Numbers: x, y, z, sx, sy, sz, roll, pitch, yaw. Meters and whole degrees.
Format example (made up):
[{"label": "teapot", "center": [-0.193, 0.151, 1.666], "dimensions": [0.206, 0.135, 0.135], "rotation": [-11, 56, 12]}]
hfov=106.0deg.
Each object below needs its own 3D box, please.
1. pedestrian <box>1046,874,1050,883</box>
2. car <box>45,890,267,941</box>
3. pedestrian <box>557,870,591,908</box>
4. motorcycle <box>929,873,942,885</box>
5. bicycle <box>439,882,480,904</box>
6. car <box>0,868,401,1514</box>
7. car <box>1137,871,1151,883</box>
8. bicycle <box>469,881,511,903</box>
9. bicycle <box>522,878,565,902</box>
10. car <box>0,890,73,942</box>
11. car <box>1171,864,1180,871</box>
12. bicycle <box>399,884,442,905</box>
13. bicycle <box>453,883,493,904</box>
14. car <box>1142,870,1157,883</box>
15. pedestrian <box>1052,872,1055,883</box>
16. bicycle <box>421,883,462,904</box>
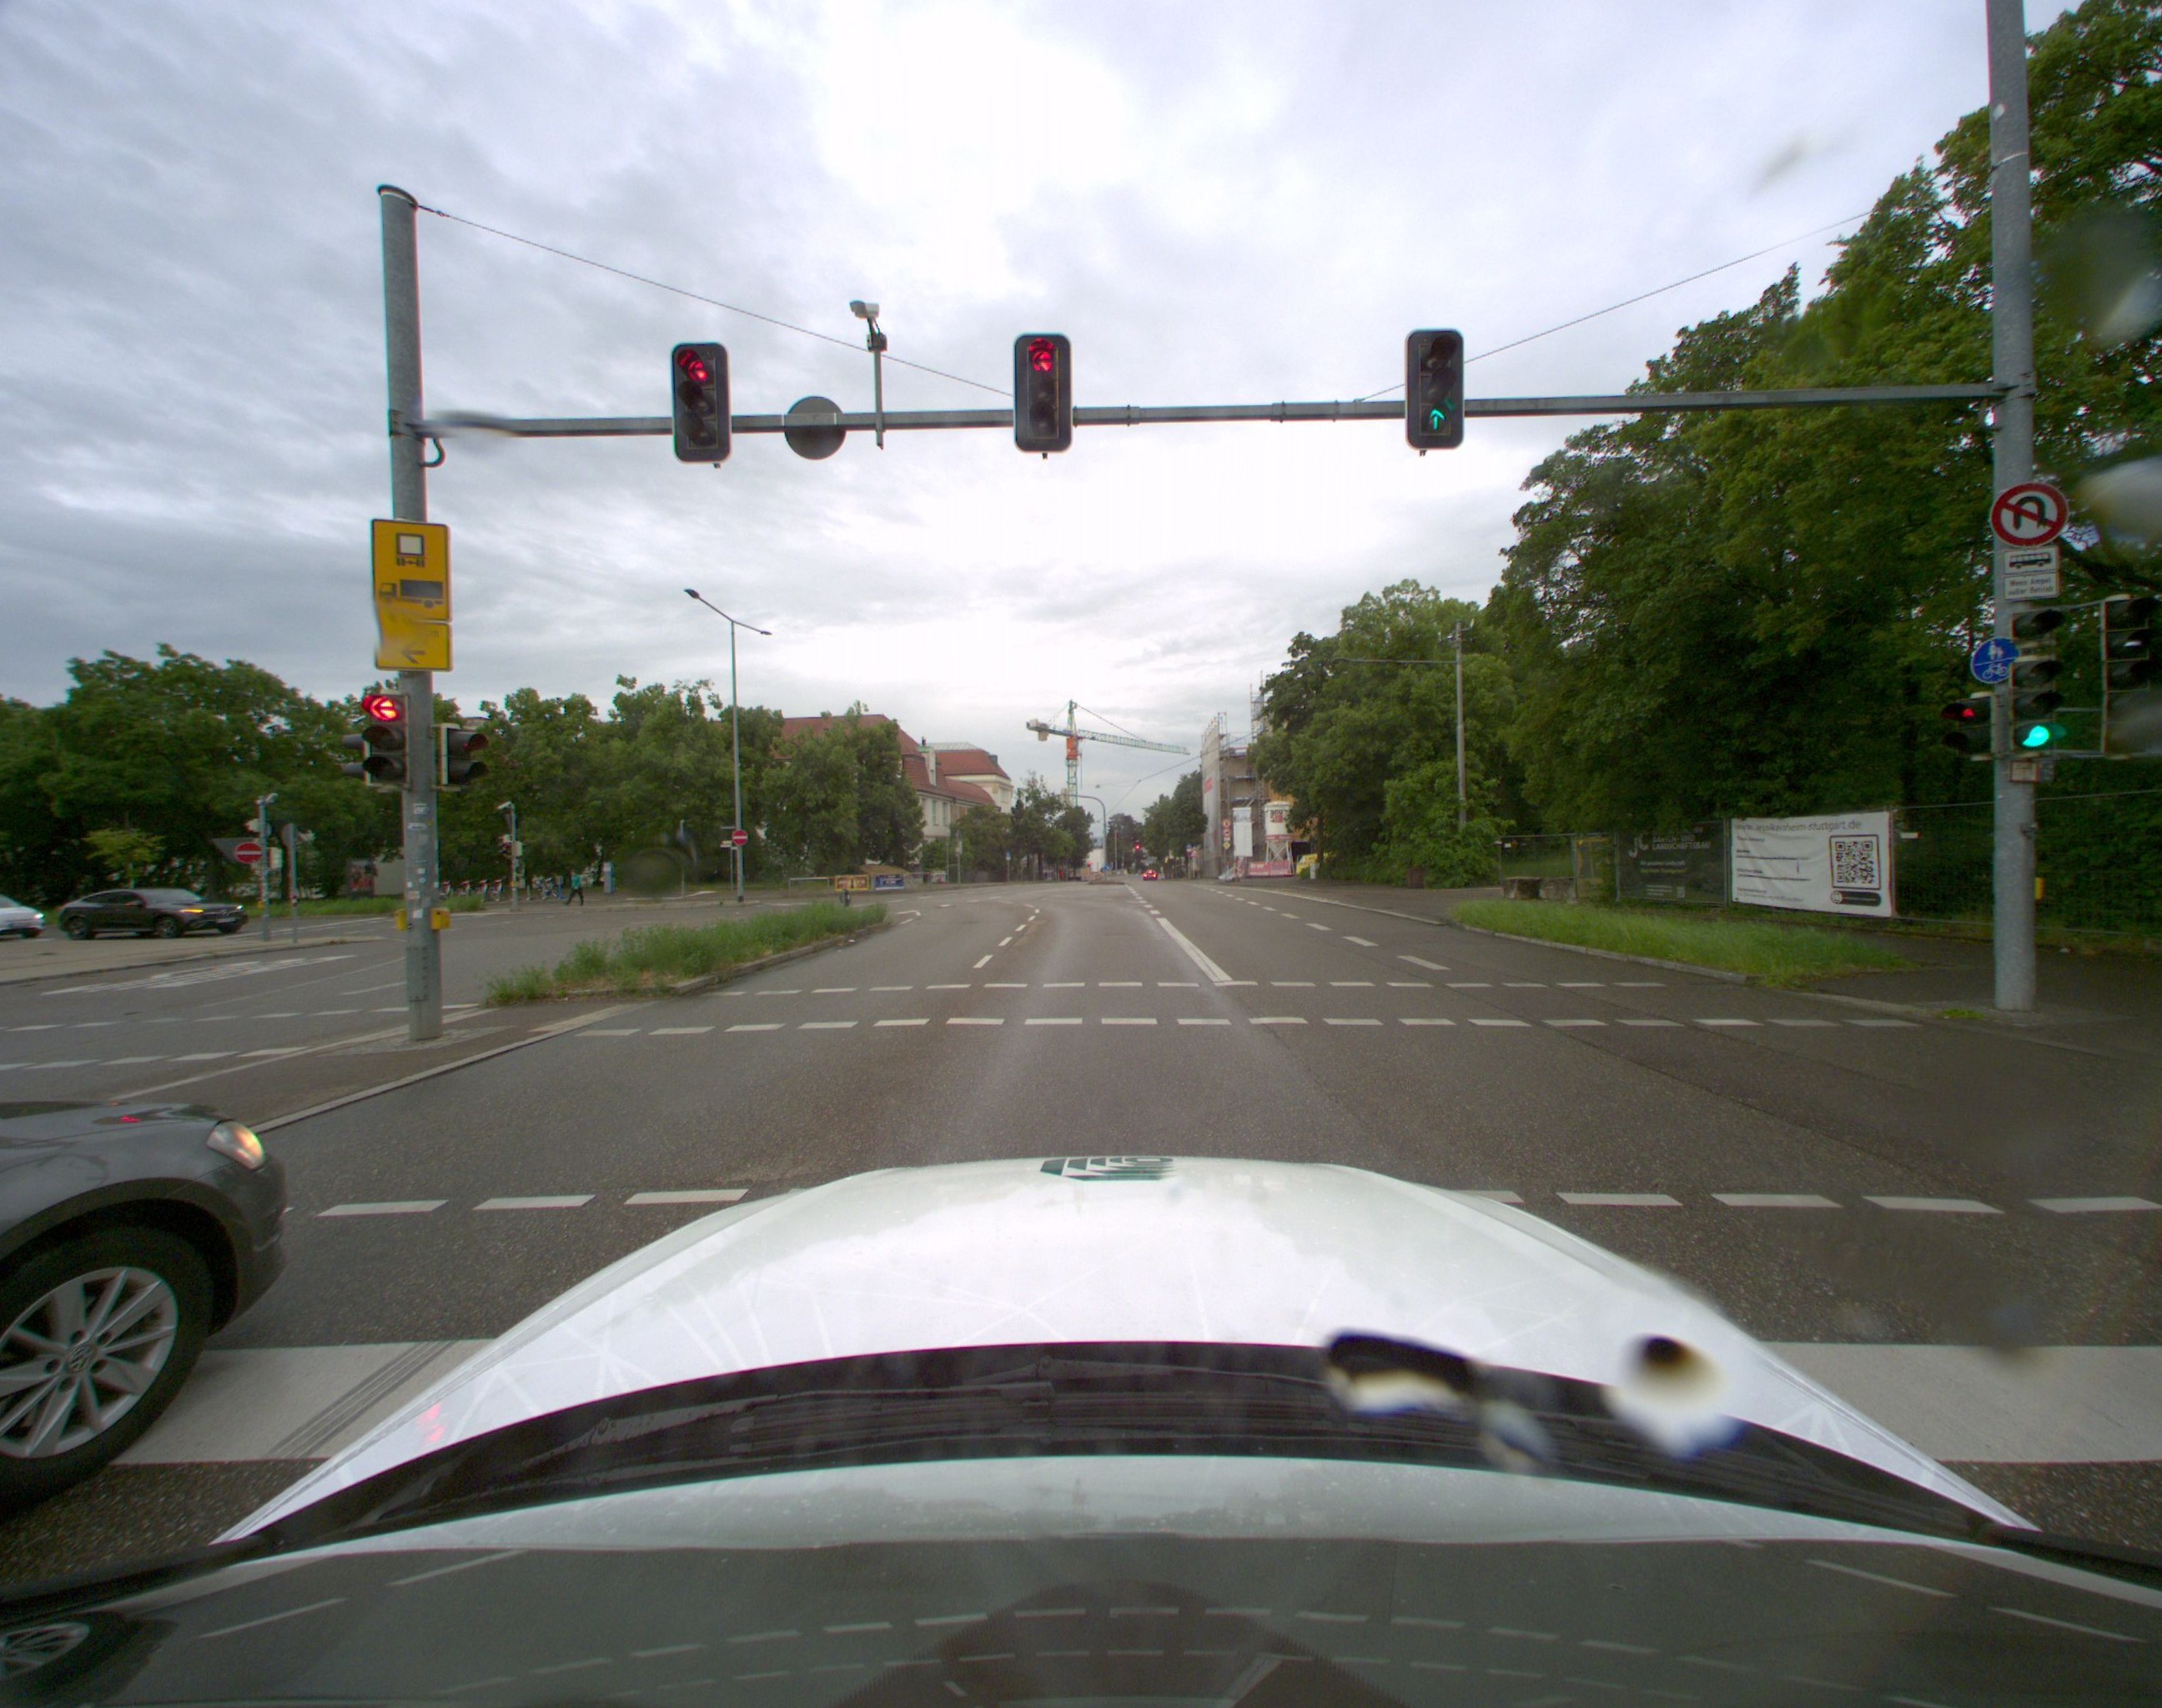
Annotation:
[{"label": "pedestrian", "center": [-4.971, 3.673, 122.964], "dimensions": [0.473, 1.396, 0.411], "rotation": [-2, 0, 1]}, {"label": "car", "center": [-30.072, 1.986, 26.589], "dimensions": [5.006, 1.500, 2.001], "rotation": [0, -1, 1]}, {"label": "pedestrian", "center": [-22.963, 1.577, 36.921], "dimensions": [0.918, 1.727, 0.948], "rotation": [0, -1, 6]}, {"label": "motorcycle", "center": [-11.626, 1.983, 65.029], "dimensions": [0.846, 0.877, 0.877], "rotation": [0, -1, 1]}, {"label": "bicycle", "center": [-33.904, 2.114, 44.453], "dimensions": [0.649, 1.071, 1.982], "rotation": [0, -1, 2]}, {"label": "car", "center": [-3.463, 0.811, 0.788], "dimensions": [1.809, 1.481, 4.378], "rotation": [-2, 0, 2]}, {"label": "car", "center": [10.212, 3.655, 131.204], "dimensions": [1.986, 1.750, 4.001], "rotation": [-2, 0, 1]}, {"label": "bicycle", "center": [-32.265, 2.067, 44.510], "dimensions": [0.798, 1.071, 1.982], "rotation": [0, -1, 2]}, {"label": "bicycle", "center": [-29.432, 1.940, 44.618], "dimensions": [0.987, 1.249, 1.982], "rotation": [0, -1, 2]}, {"label": "car", "center": [-36.493, 2.038, 27.053], "dimensions": [3.539, 1.594, 2.001], "rotation": [0, -1, 1]}, {"label": "car", "center": [25.517, 3.491, 218.941], "dimensions": [1.980, 1.750, 4.014], "rotation": [-2, 0, 13]}, {"label": "bicycle", "center": [-35.960, 2.177, 44.369], "dimensions": [0.649, 1.071, 1.982], "rotation": [0, -1, 2]}, {"label": "bicycle", "center": [-33.015, 2.118, 44.278], "dimensions": [0.649, 1.071, 1.982], "rotation": [0, -1, 2]}, {"label": "car", "center": [10.544, 3.406, 124.882], "dimensions": [1.986, 1.750, 4.001], "rotation": [-2, 0, 1]}, {"label": "pedestrian", "center": [-4.172, 3.585, 122.967], "dimensions": [0.492, 1.645, 0.533], "rotation": [0, -1, -4]}, {"label": "bicycle", "center": [-34.983, 2.142, 44.584], "dimensions": [0.649, 1.071, 1.982], "rotation": [0, -1, 2]}]
